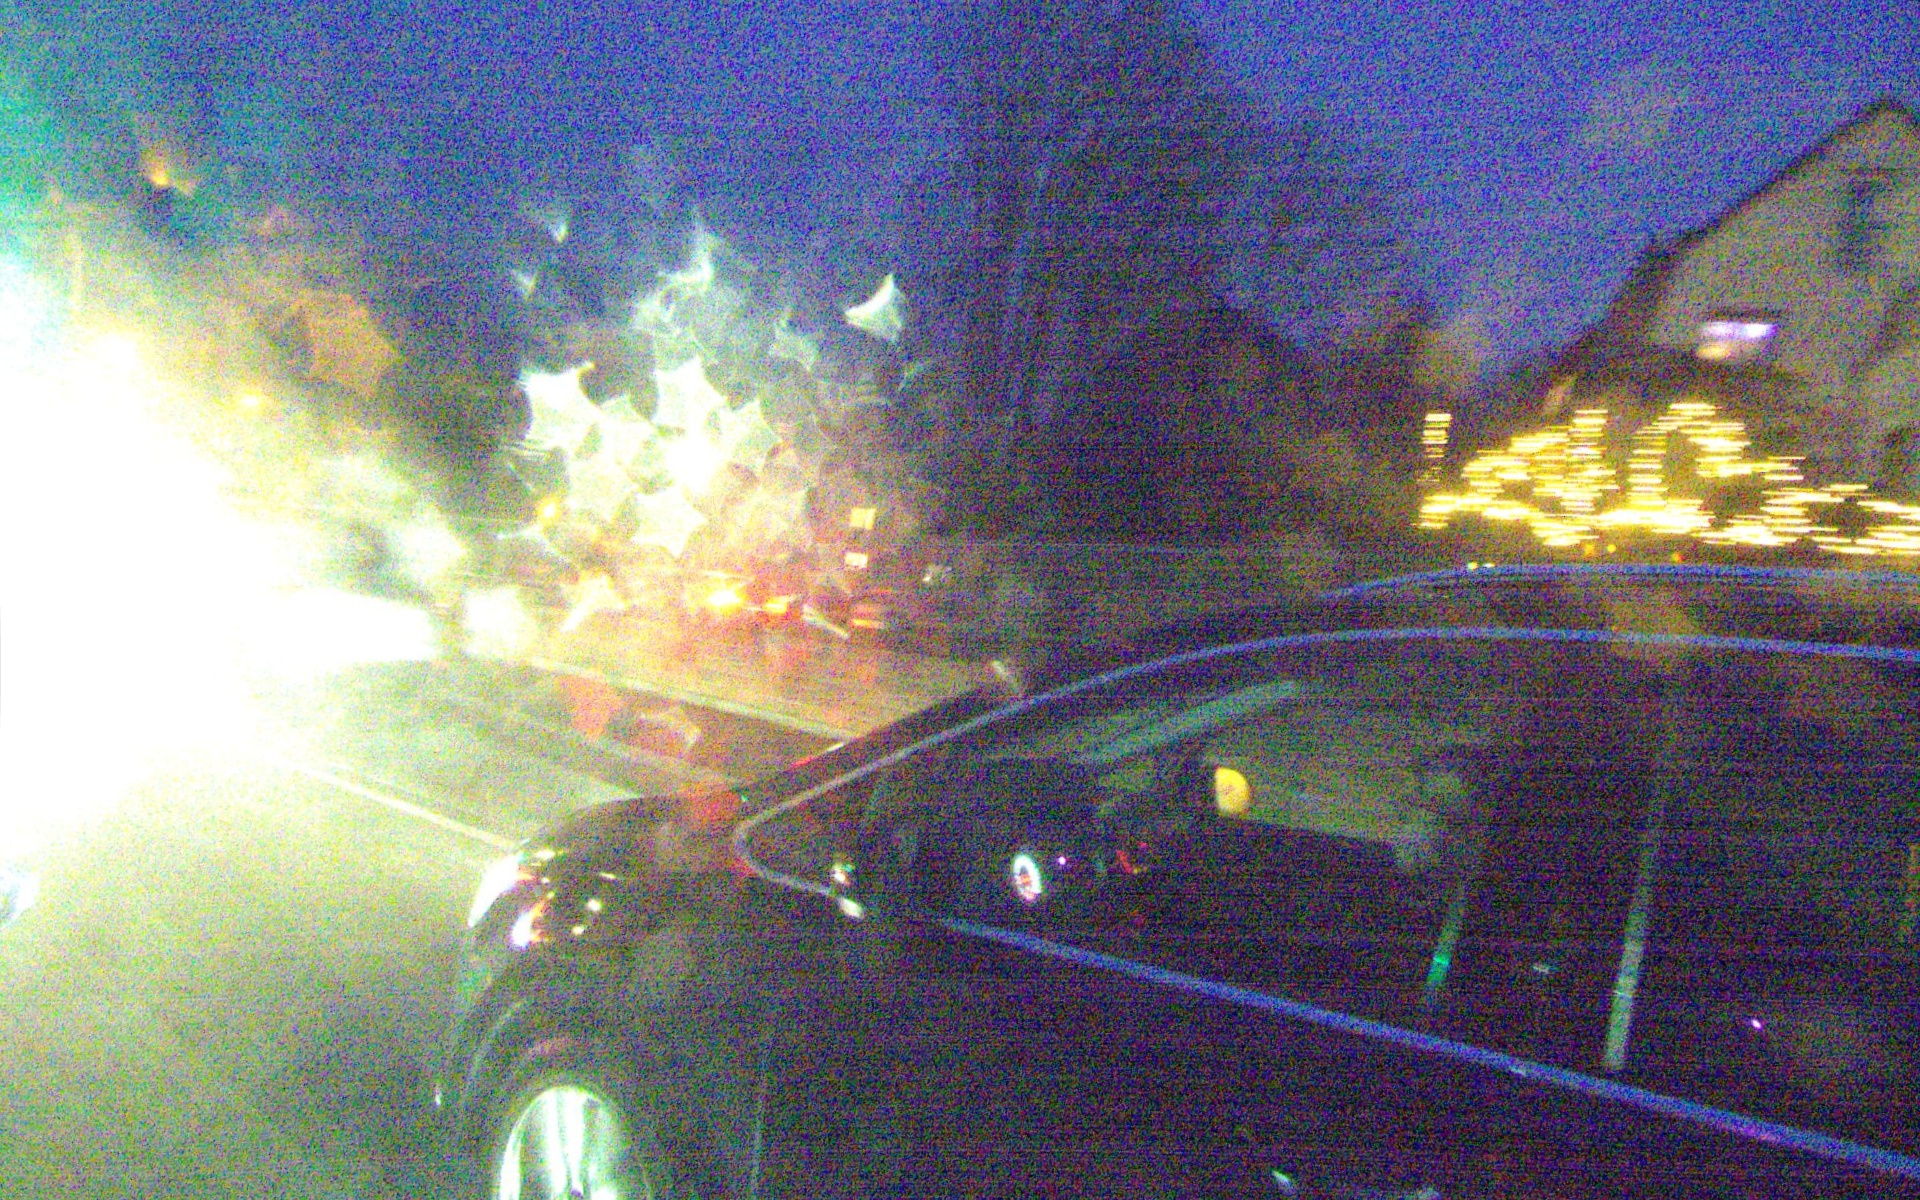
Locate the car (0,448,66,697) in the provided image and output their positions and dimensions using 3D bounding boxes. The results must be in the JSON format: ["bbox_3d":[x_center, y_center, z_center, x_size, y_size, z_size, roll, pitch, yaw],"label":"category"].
[{"bbox_3d":[-9.452,-0.466,8.257,4.269,1.886,1.856,6,-2,32],"label":"car"}]

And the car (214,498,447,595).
[{"bbox_3d":[-14.445,-1.178,23.357,4.297,1.476,1.838,9,-2,-30],"label":"car"}]

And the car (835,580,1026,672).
[{"bbox_3d":[-0.604,0.619,22.570,3.921,1.503,1.745,10,-3,-40],"label":"car"}]

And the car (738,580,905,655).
[{"bbox_3d":[-3.713,0.477,27.177,3.964,1.446,1.829,9,-3,-34],"label":"car"}]

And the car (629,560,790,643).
[{"bbox_3d":[-6.018,-0.018,23.746,1.714,1.500,4.656,9,-3,-39],"label":"car"}]

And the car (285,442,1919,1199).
[{"bbox_3d":[1.050,0.817,1.875,4.859,1.755,1.838,6,-2,32],"label":"car"}]

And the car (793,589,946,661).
[{"bbox_3d":[-2.207,0.649,25.030,3.484,1.306,1.457,10,-3,-40],"label":"car"}]

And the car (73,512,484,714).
[{"bbox_3d":[-7.083,0.088,10.372,4.166,1.459,1.788,7,0,30],"label":"car"}]
